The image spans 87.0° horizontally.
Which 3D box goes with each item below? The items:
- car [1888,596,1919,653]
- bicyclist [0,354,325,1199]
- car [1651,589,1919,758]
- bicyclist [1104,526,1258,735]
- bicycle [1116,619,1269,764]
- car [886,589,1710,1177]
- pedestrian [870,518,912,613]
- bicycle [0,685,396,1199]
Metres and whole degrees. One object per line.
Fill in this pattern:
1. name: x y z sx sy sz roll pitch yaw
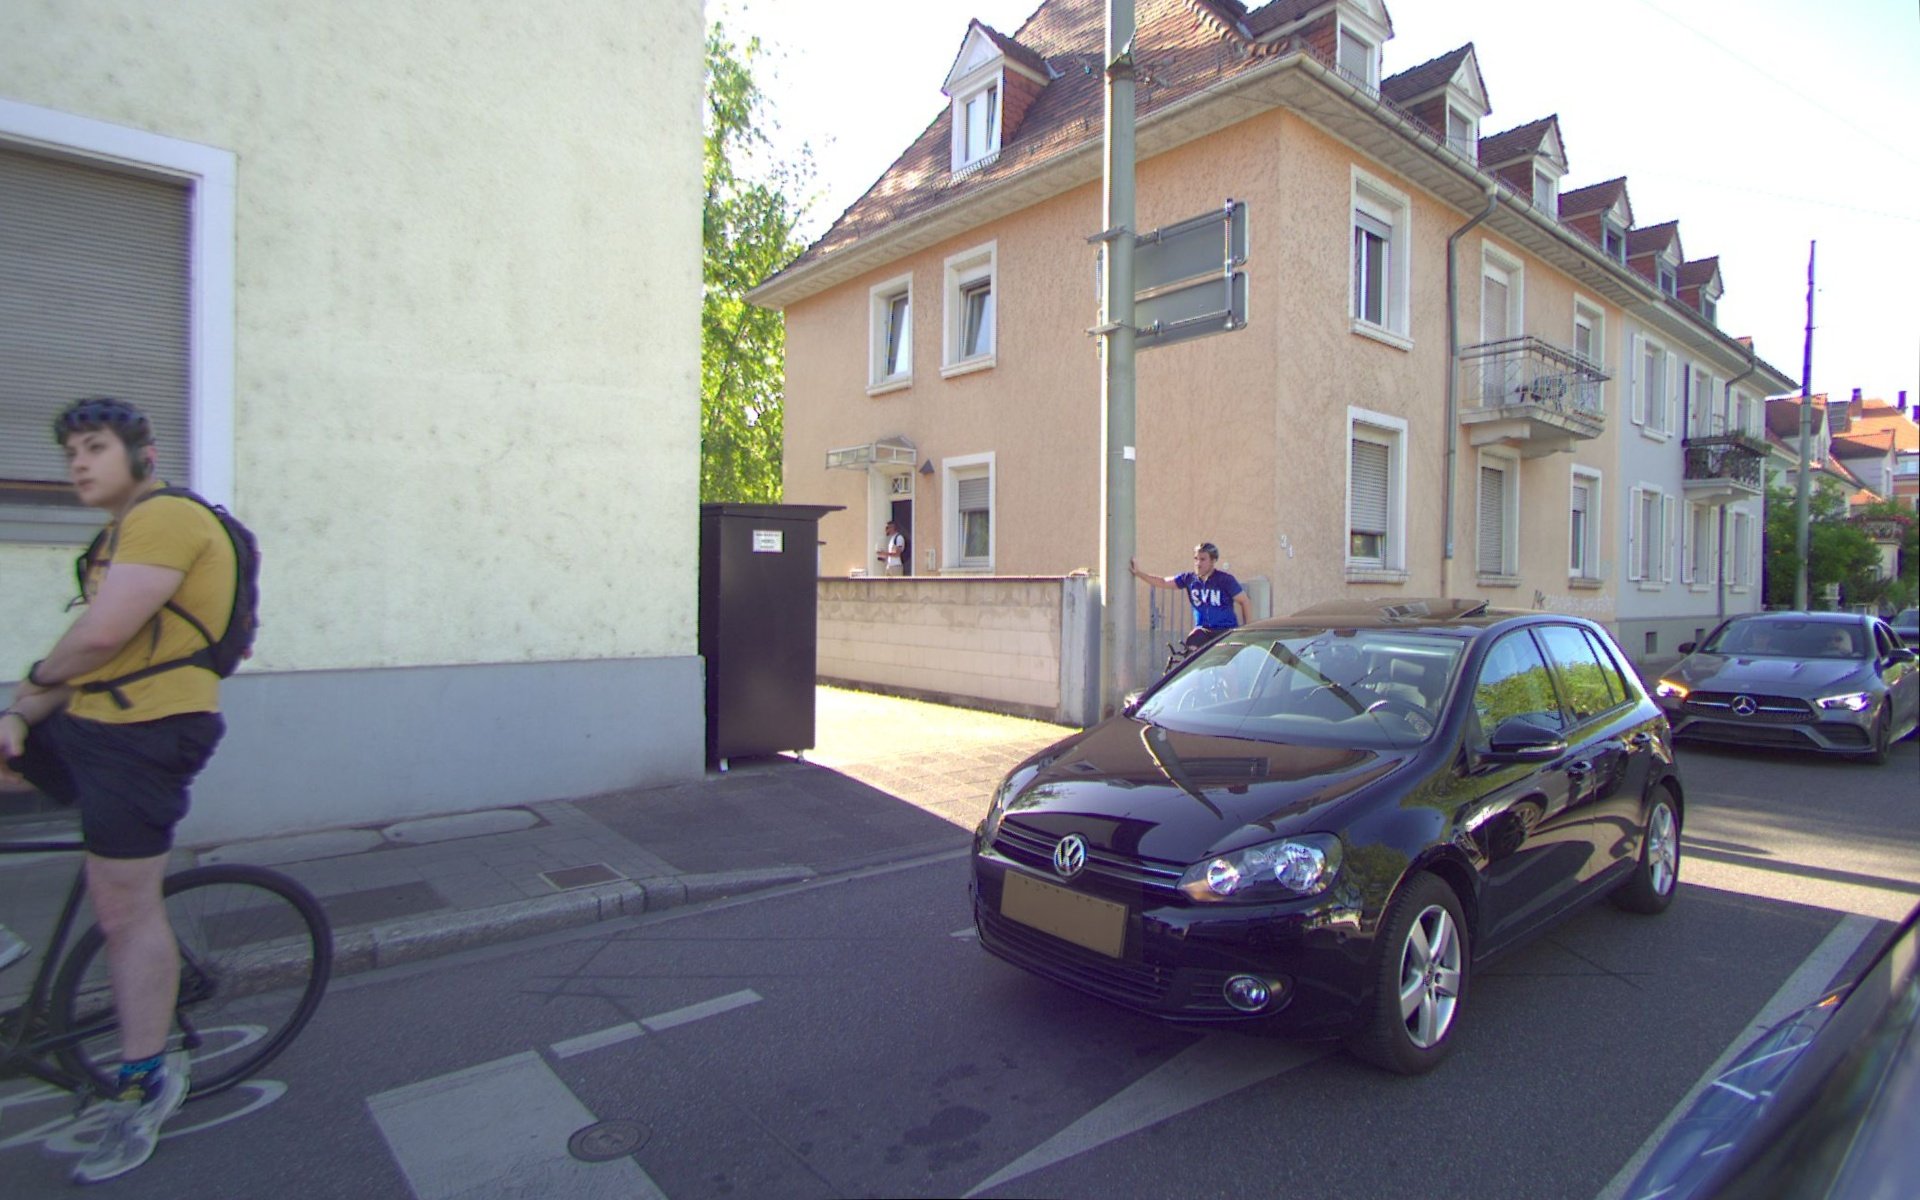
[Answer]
1. car: 26.757 0.632 27.440 4.258 1.448 1.824 -1 0 -40
2. bicyclist: -2.322 0.434 2.754 0.777 1.991 0.768 0 0 36
3. car: 9.145 0.652 10.806 4.410 1.449 1.824 1 0 -40
4. bicyclist: 1.964 0.230 9.040 1.018 1.714 0.718 6 4 42
5. bicycle: 2.080 0.755 8.936 0.554 1.088 1.601 6 4 42
6. car: 1.753 0.689 4.475 3.921 1.456 1.716 -1 0 -41
7. pedestrian: -1.245 -0.629 18.132 0.598 1.624 0.763 3 5 -8
8. bicycle: -2.518 0.860 2.587 0.777 1.120 1.720 0 0 36
